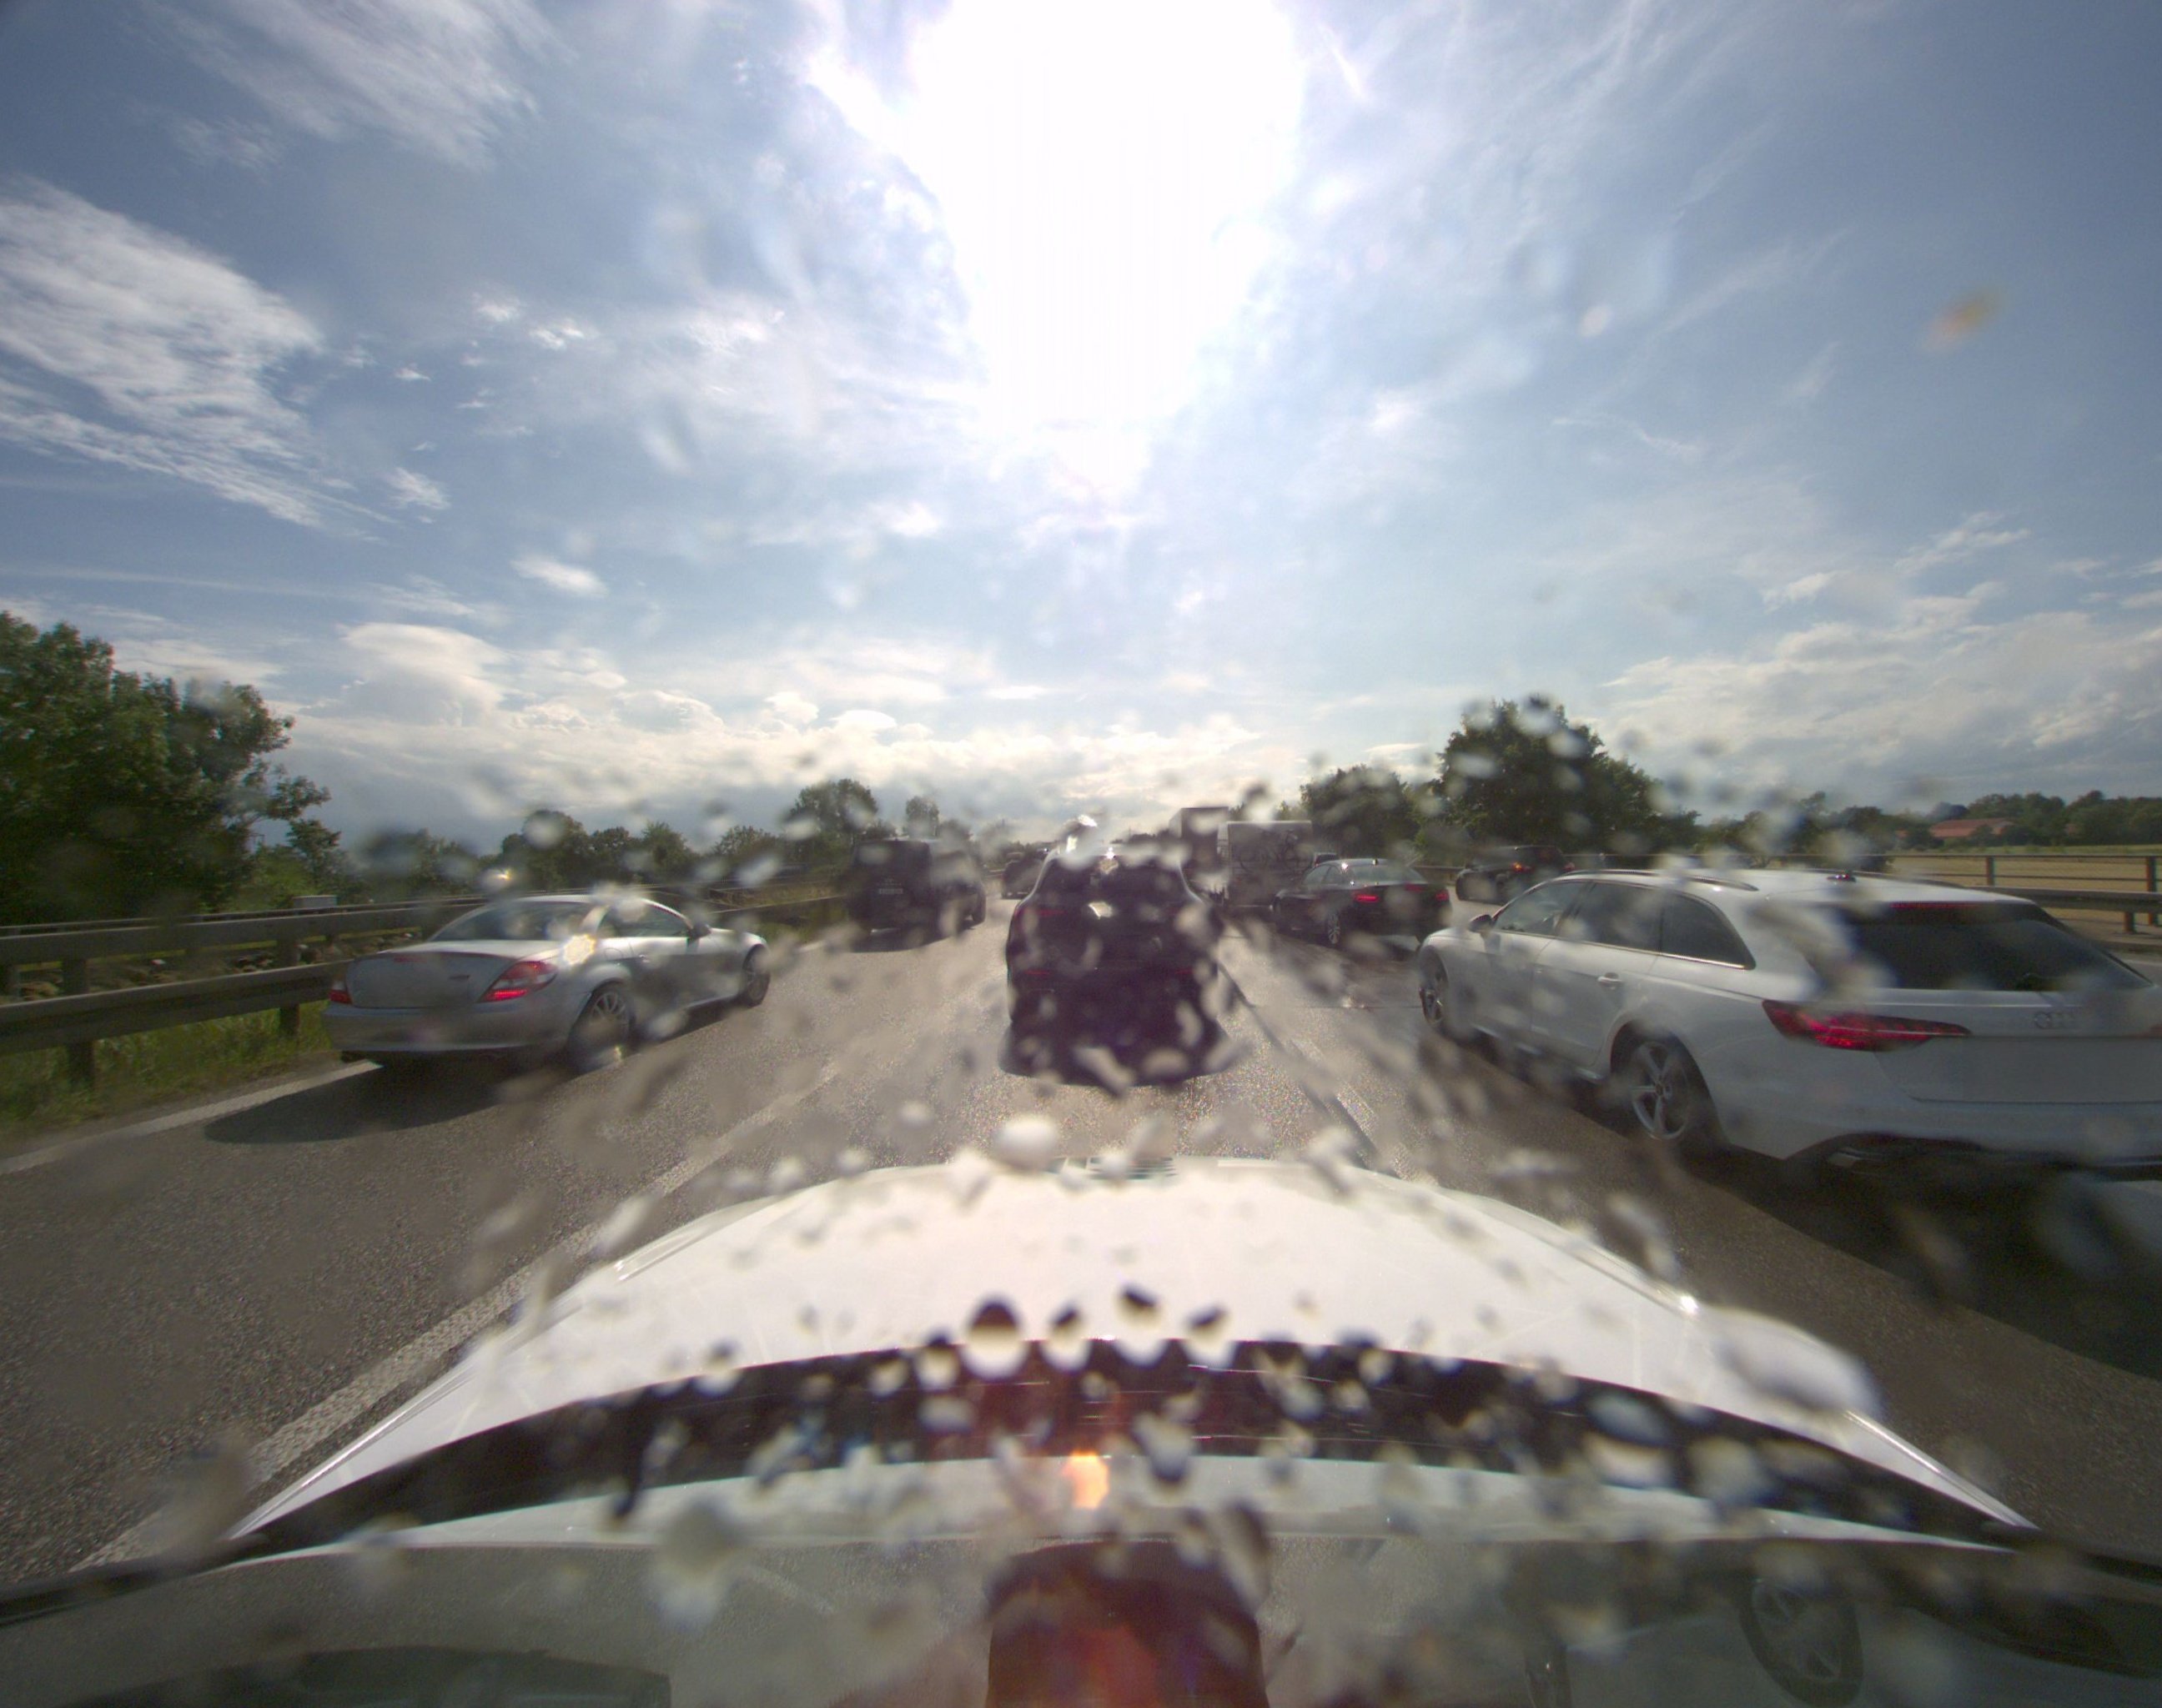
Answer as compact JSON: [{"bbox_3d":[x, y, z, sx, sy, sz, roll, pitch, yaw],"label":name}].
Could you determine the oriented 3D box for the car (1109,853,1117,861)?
[{"bbox_3d":[8.406,0.745,215.783,1.986,2.014,4.001,0,0,2],"label":"car"}]

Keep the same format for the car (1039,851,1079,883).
[{"bbox_3d":[-1.228,0.719,46.886,1.985,1.720,4.003,0,0,3],"label":"car"}]

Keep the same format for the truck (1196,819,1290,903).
[{"bbox_3d":[5.229,0.228,27.177,2.363,2.477,5.762,0,0,4],"label":"truck"}]

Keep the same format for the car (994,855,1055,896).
[{"bbox_3d":[-2.198,0.821,32.689,1.748,1.516,4.215,-1,0,5],"label":"car"}]

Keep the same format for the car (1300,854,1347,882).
[{"bbox_3d":[14.251,0.817,48.082,1.840,1.568,4.004,-1,0,4],"label":"car"}]

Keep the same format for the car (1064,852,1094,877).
[{"bbox_3d":[-0.121,0.783,62.516,1.984,1.772,4.005,-1,0,5],"label":"car"}]

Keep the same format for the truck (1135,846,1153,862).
[{"bbox_3d":[16.322,-0.042,210.670,3.830,4.017,11.220,0,0,0],"label":"truck"}]

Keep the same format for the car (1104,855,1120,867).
[{"bbox_3d":[4.315,0.928,112.715,1.984,1.616,4.005,2,0,5],"label":"car"}]

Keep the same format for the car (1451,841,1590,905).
[{"bbox_3d":[12.216,0.487,22.971,1.812,1.620,4.368,-1,0,4],"label":"car"}]

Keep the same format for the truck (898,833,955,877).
[{"bbox_3d":[-14.186,0.170,75.808,2.836,3.853,9.431,-1,-1,4],"label":"truck"}]

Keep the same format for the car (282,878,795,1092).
[{"bbox_3d":[-4.314,0.932,7.410,1.717,1.278,4.068,-1,0,4],"label":"car"}]

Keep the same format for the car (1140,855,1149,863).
[{"bbox_3d":[14.272,1.147,184.305,1.869,1.760,4.001,0,0,1],"label":"car"}]

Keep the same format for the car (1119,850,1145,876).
[{"bbox_3d":[4.254,0.719,67.164,1.984,2.014,4.005,0,0,5],"label":"car"}]

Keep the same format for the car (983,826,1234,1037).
[{"bbox_3d":[0.374,0.642,8.750,1.984,1.661,4.411,-1,0,4],"label":"car"}]

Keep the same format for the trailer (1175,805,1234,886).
[{"bbox_3d":[6.943,-0.423,46.947,2.991,4.166,8.551,-1,0,6],"label":"trailer"}]

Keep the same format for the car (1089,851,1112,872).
[{"bbox_3d":[1.943,0.699,81.060,1.984,2.014,4.005,-1,0,5],"label":"car"}]

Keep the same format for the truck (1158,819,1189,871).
[{"bbox_3d":[8.875,-0.826,78.973,2.491,4.830,7.549,0,0,3],"label":"truck"}]

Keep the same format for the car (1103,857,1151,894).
[{"bbox_3d":[1.910,0.831,32.918,1.798,1.407,4.005,0,0,4],"label":"car"}]

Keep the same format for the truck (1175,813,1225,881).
[{"bbox_3d":[7.589,-0.410,52.659,2.980,4.166,5.249,-1,0,6],"label":"truck"}]

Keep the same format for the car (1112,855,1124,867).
[{"bbox_3d":[6.400,1.198,142.124,1.986,2.013,4.002,2,0,2],"label":"car"}]

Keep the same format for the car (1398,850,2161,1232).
[{"bbox_3d":[3.786,0.745,5.331,1.819,1.425,4.513,0,-1,2],"label":"car"}]

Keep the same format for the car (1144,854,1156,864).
[{"bbox_3d":[12.299,0.840,144.787,1.869,1.760,4.001,0,0,1],"label":"car"}]

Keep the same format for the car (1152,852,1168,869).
[{"bbox_3d":[10.057,0.824,103.909,1.984,2.013,4.005,2,0,5],"label":"car"}]

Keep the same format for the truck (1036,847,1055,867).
[{"bbox_3d":[-7.624,0.594,174.528,2.991,4.103,7.694,-3,-1,4],"label":"truck"}]

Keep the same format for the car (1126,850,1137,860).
[{"bbox_3d":[9.314,0.234,149.194,1.869,1.760,4.001,0,0,1],"label":"car"}]

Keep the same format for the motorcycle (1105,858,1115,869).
[{"bbox_3d":[3.678,1.168,102.447,1.069,1.271,2.693,-1,0,4],"label":"motorcycle"}]

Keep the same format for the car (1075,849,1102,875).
[{"bbox_3d":[0.673,0.661,69.510,1.984,2.013,4.005,2,0,5],"label":"car"}]

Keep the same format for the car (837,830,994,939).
[{"bbox_3d":[-3.402,0.585,17.962,1.984,2.013,5.275,-1,0,4],"label":"car"}]

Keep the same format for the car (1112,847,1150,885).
[{"bbox_3d":[2.842,0.643,45.251,1.984,2.014,4.005,0,0,5],"label":"car"}]

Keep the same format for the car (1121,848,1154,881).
[{"bbox_3d":[3.775,0.695,53.847,1.984,2.013,4.005,2,0,5],"label":"car"}]

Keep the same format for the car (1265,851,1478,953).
[{"bbox_3d":[4.856,0.739,14.363,1.846,1.464,4.246,-2,-1,-6],"label":"car"}]

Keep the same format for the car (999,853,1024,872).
[{"bbox_3d":[-8.441,0.952,99.652,1.985,2.208,6.987,-1,0,4],"label":"car"}]

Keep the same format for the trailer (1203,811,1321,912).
[{"bbox_3d":[4.940,0.213,23.312,2.363,2.483,6.530,0,0,4],"label":"trailer"}]

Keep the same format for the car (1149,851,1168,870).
[{"bbox_3d":[8.437,0.729,88.449,1.984,2.013,4.005,0,0,5],"label":"car"}]

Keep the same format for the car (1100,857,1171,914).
[{"bbox_3d":[1.551,0.799,22.474,1.748,1.387,3.951,-1,0,5],"label":"car"}]

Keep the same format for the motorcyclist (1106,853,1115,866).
[{"bbox_3d":[3.678,0.693,102.529,1.059,1.718,0.786,-1,-1,4],"label":"motorcyclist"}]

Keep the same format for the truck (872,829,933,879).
[{"bbox_3d":[-14.729,0.059,67.845,2.849,3.821,7.885,-1,-1,4],"label":"truck"}]
